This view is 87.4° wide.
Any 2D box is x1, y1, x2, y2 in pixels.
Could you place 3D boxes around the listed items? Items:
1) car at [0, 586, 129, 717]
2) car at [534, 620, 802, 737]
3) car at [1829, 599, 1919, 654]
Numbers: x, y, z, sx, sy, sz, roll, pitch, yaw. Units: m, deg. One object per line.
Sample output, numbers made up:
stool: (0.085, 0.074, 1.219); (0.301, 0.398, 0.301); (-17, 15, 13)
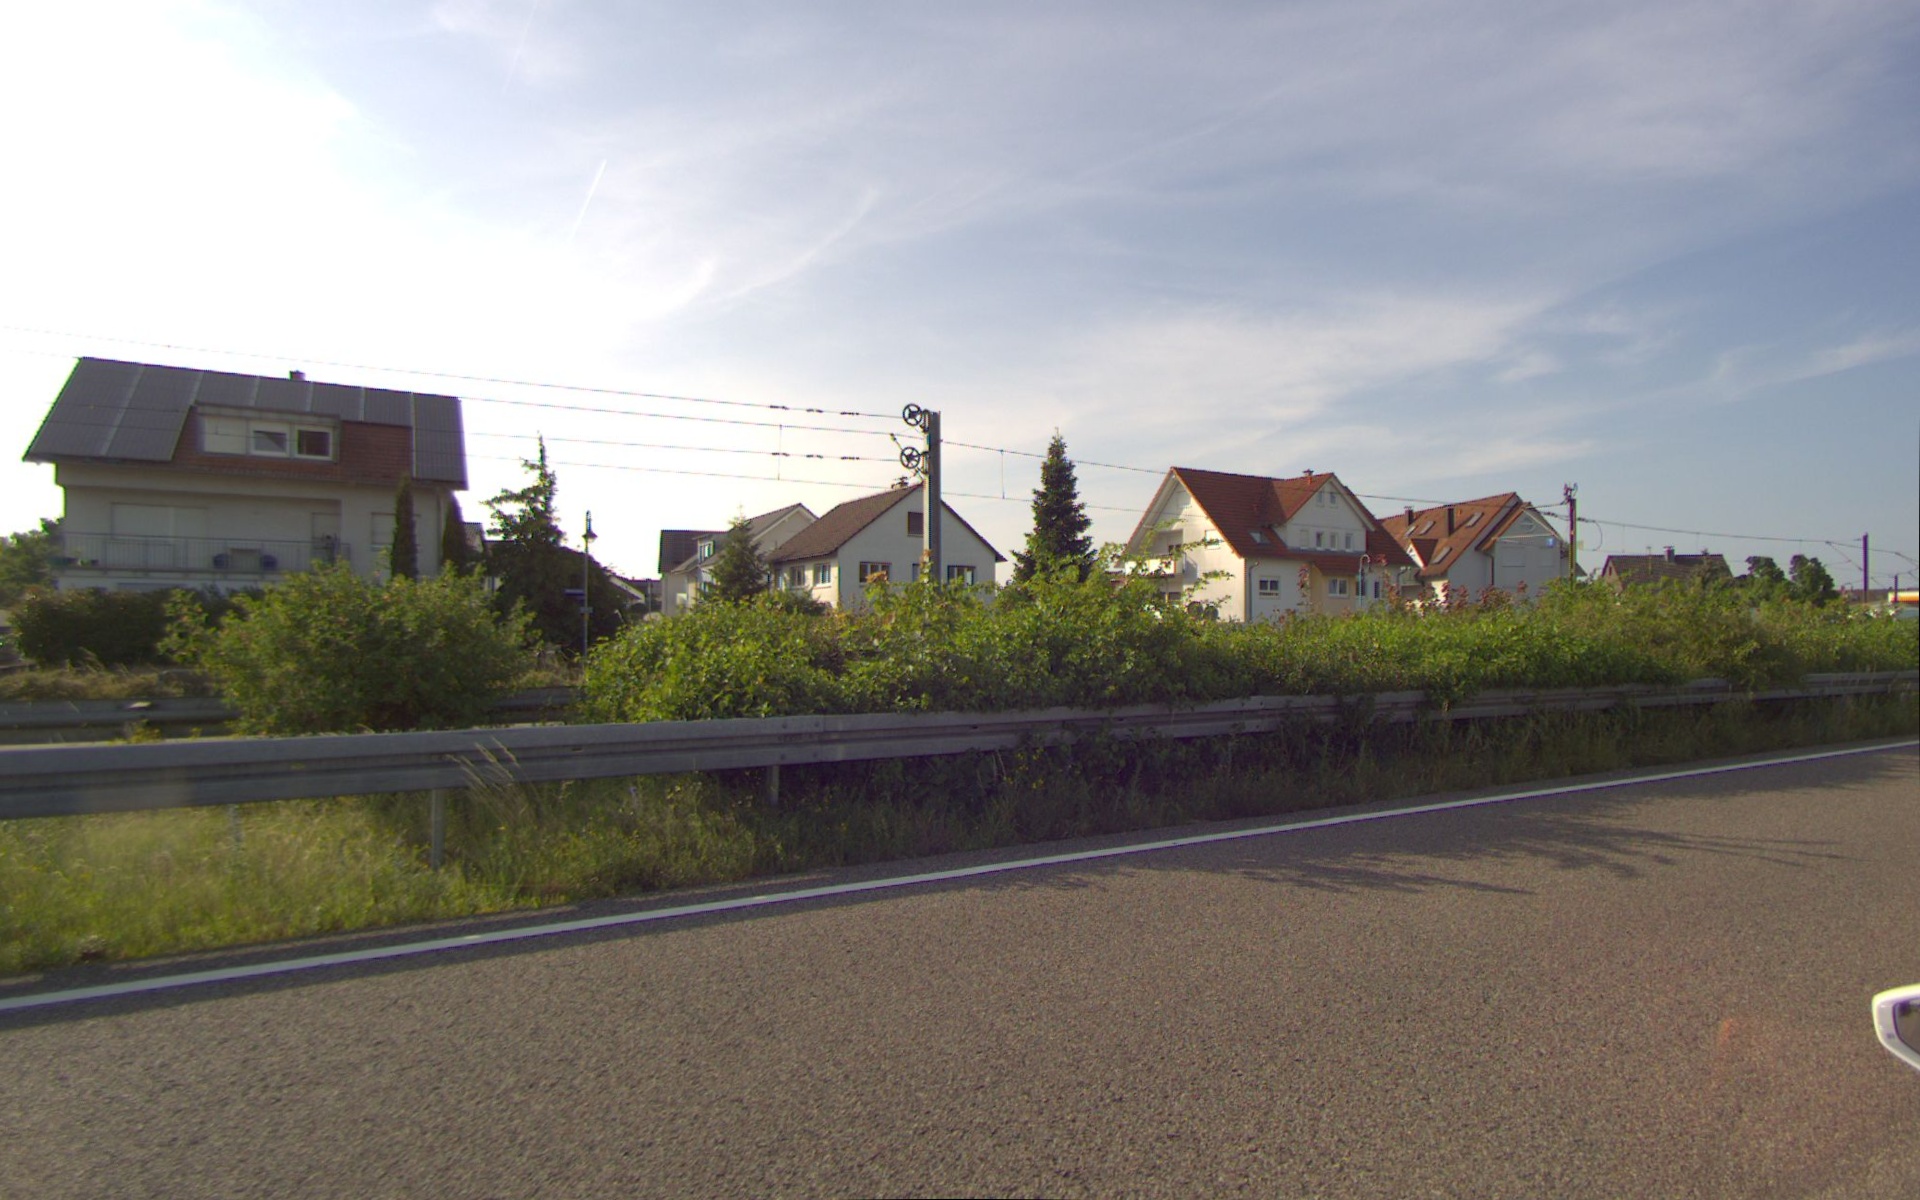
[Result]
car: (-14.347, 0.677, 14.000); (3.953, 1.773, 1.984); (1, 0, -31)
car: (-4.670, 1.173, 16.162); (3.837, 1.633, 1.706); (1, 0, -30)
car: (37.292, 1.055, 40.472); (4.815, 2.040, 1.984); (1, 0, -31)
